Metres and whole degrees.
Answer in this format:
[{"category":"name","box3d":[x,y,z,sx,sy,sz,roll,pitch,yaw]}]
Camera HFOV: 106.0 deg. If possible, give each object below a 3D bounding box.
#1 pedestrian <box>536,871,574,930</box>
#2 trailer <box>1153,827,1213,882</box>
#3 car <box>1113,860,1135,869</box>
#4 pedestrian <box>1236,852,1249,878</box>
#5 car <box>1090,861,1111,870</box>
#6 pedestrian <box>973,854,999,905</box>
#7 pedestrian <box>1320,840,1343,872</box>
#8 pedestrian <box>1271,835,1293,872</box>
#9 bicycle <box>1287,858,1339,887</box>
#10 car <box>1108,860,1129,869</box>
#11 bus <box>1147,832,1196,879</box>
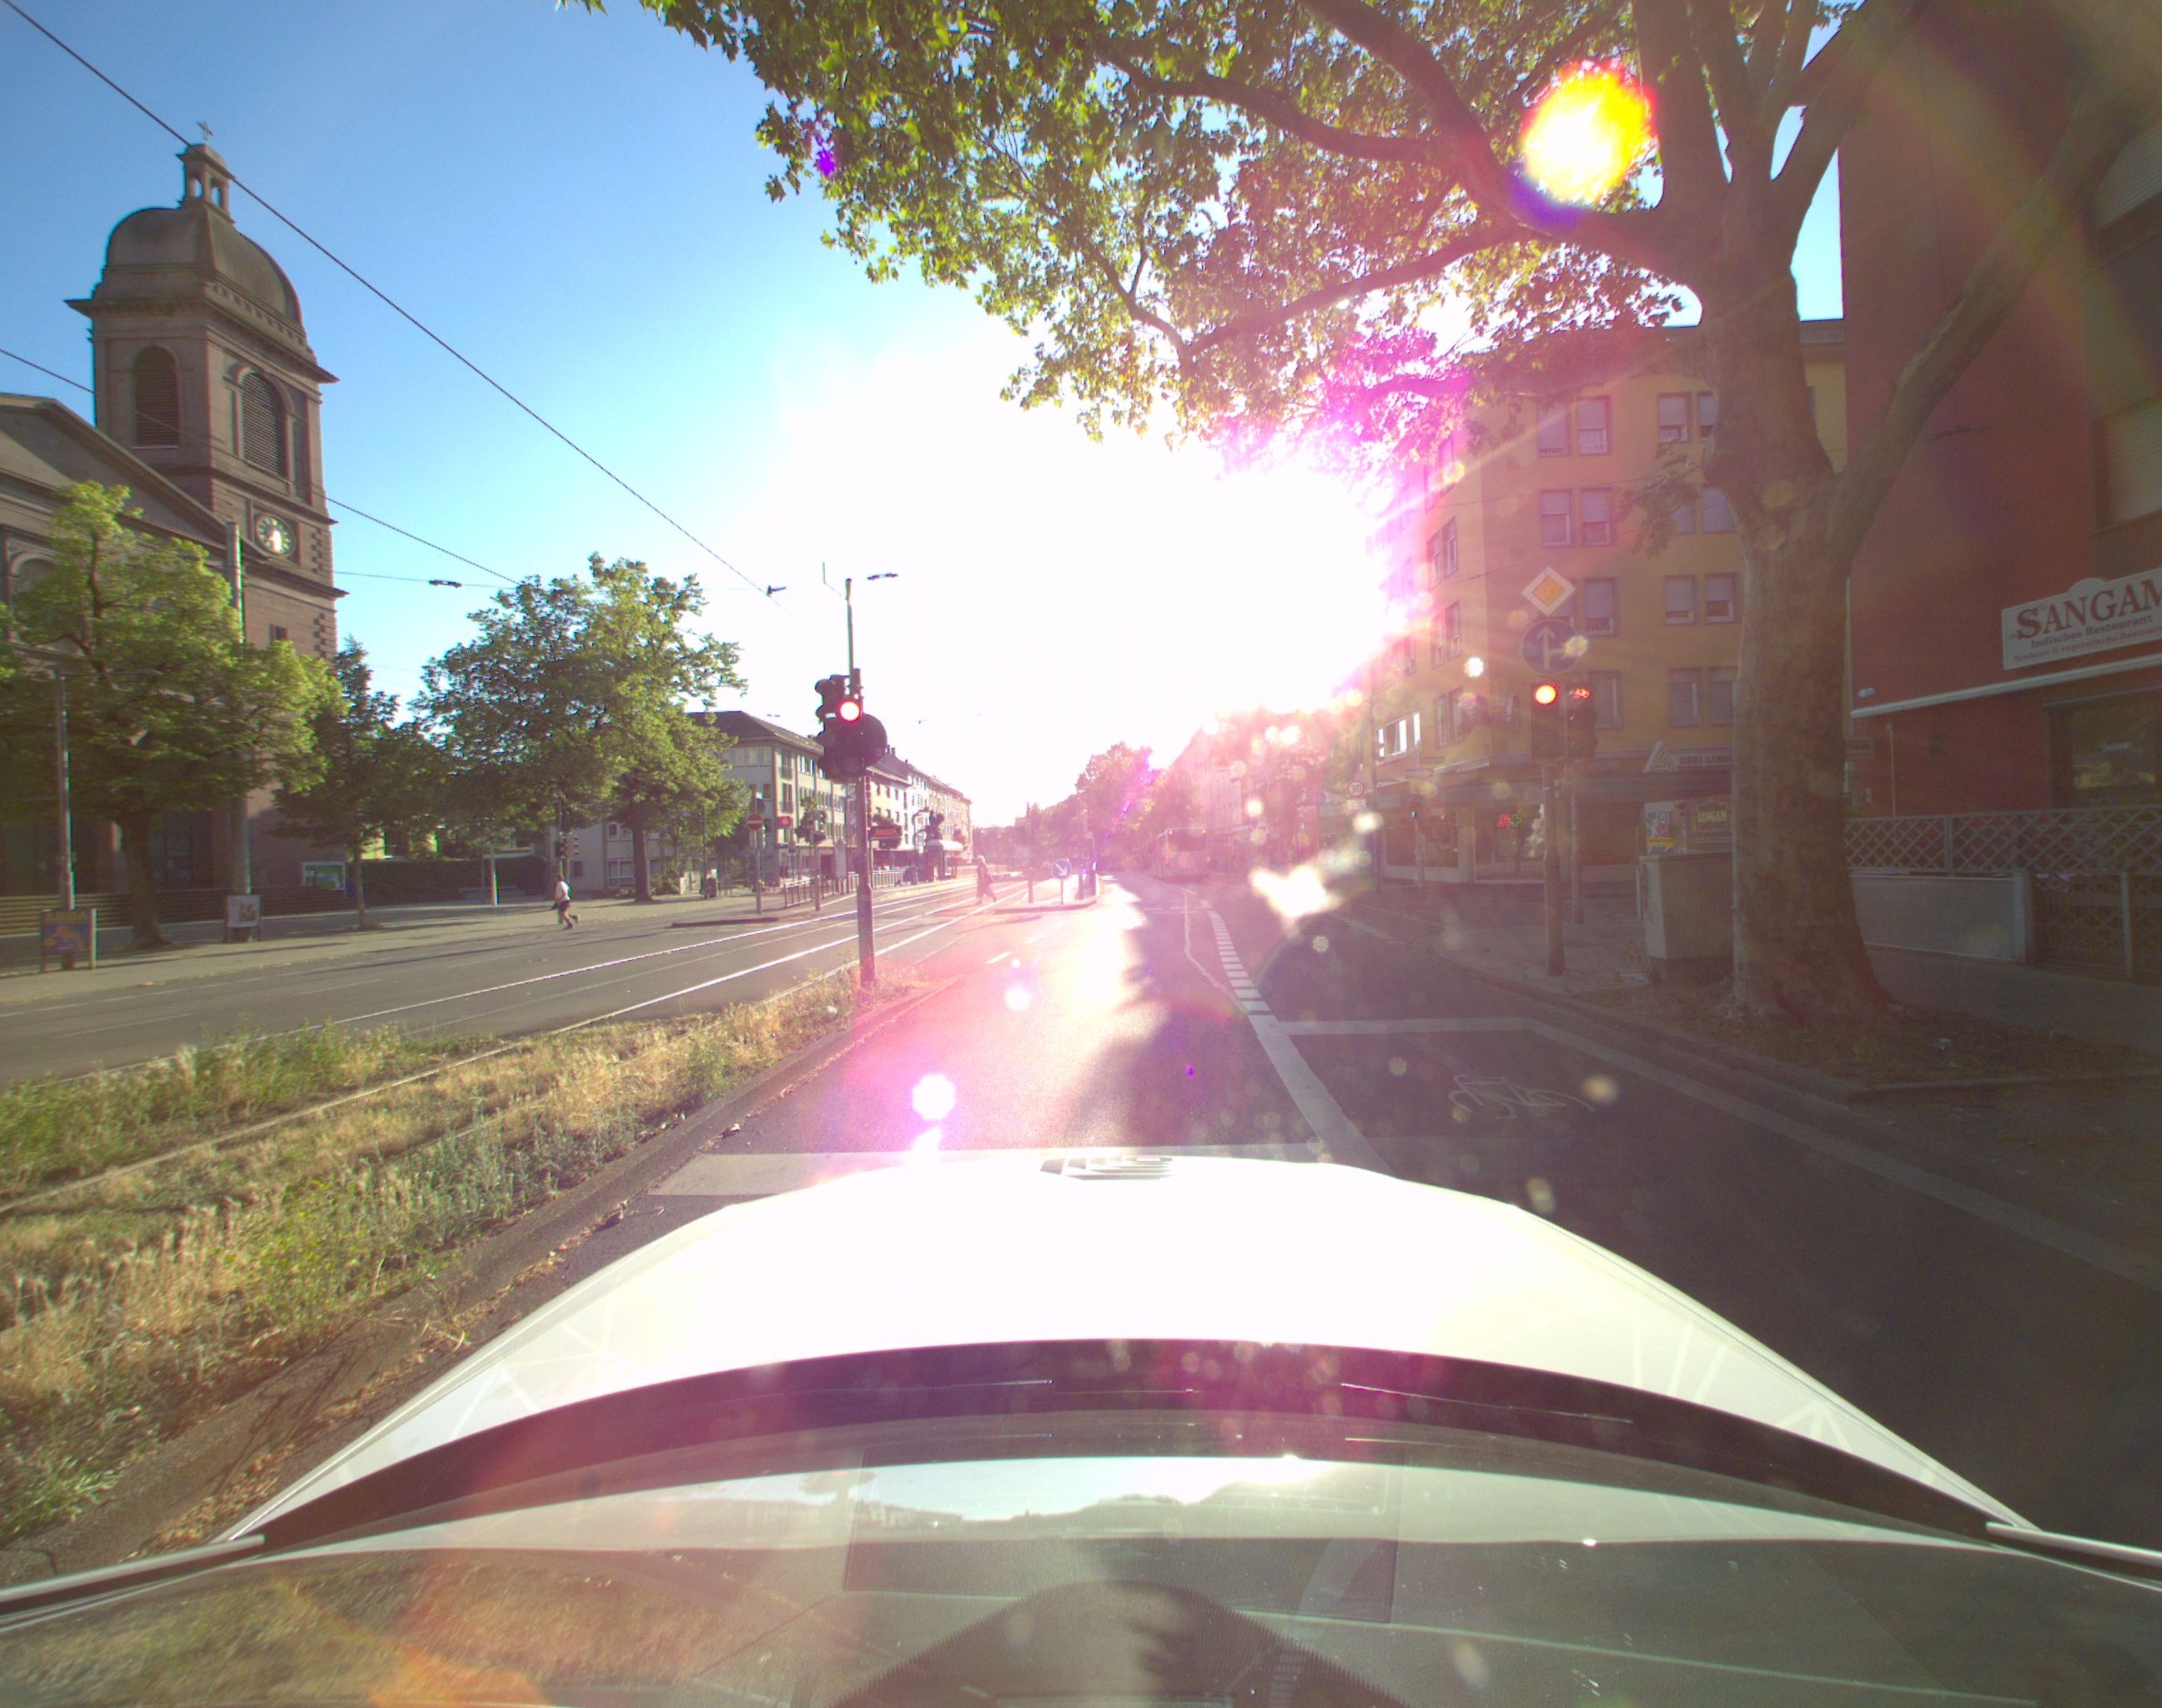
[{"category":"pedestrian","box3d":[-16.276,1.431,25.229,0.678,1.770,0.686,-2,0,-4]},{"category":"trailer","box3d":[6.105,0.058,50.038,2.801,3.110,8.797,0,0,2]},{"category":"car","box3d":[8.359,2.054,158.731,3.911,1.699,1.817,-2,0,-27]},{"category":"pedestrian","box3d":[10.353,0.698,52.211,0.674,1.628,0.656,0,-1,2]},{"category":"car","box3d":[3.966,2.313,166.507,3.911,1.596,1.676,-2,0,-27]},{"category":"pedestrian","box3d":[-3.424,0.898,29.307,0.677,1.770,0.687,-5,0,2]},{"category":"pedestrian","box3d":[16.038,0.134,52.205,0.995,2.013,0.918,-2,0,-36]},{"category":"pedestrian","box3d":[10.861,-0.023,44.026,0.950,2.014,0.917,0,-1,0]},{"category":"bicycle","box3d":[8.898,0.705,31.256,1.766,1.021,0.694,-4,-1,1]},{"category":"car","box3d":[7.443,2.135,161.407,3.911,1.699,1.817,-2,0,-27]},{"category":"bus","box3d":[6.393,0.120,58.950,2.801,3.101,9.097,0,0,2]}]
